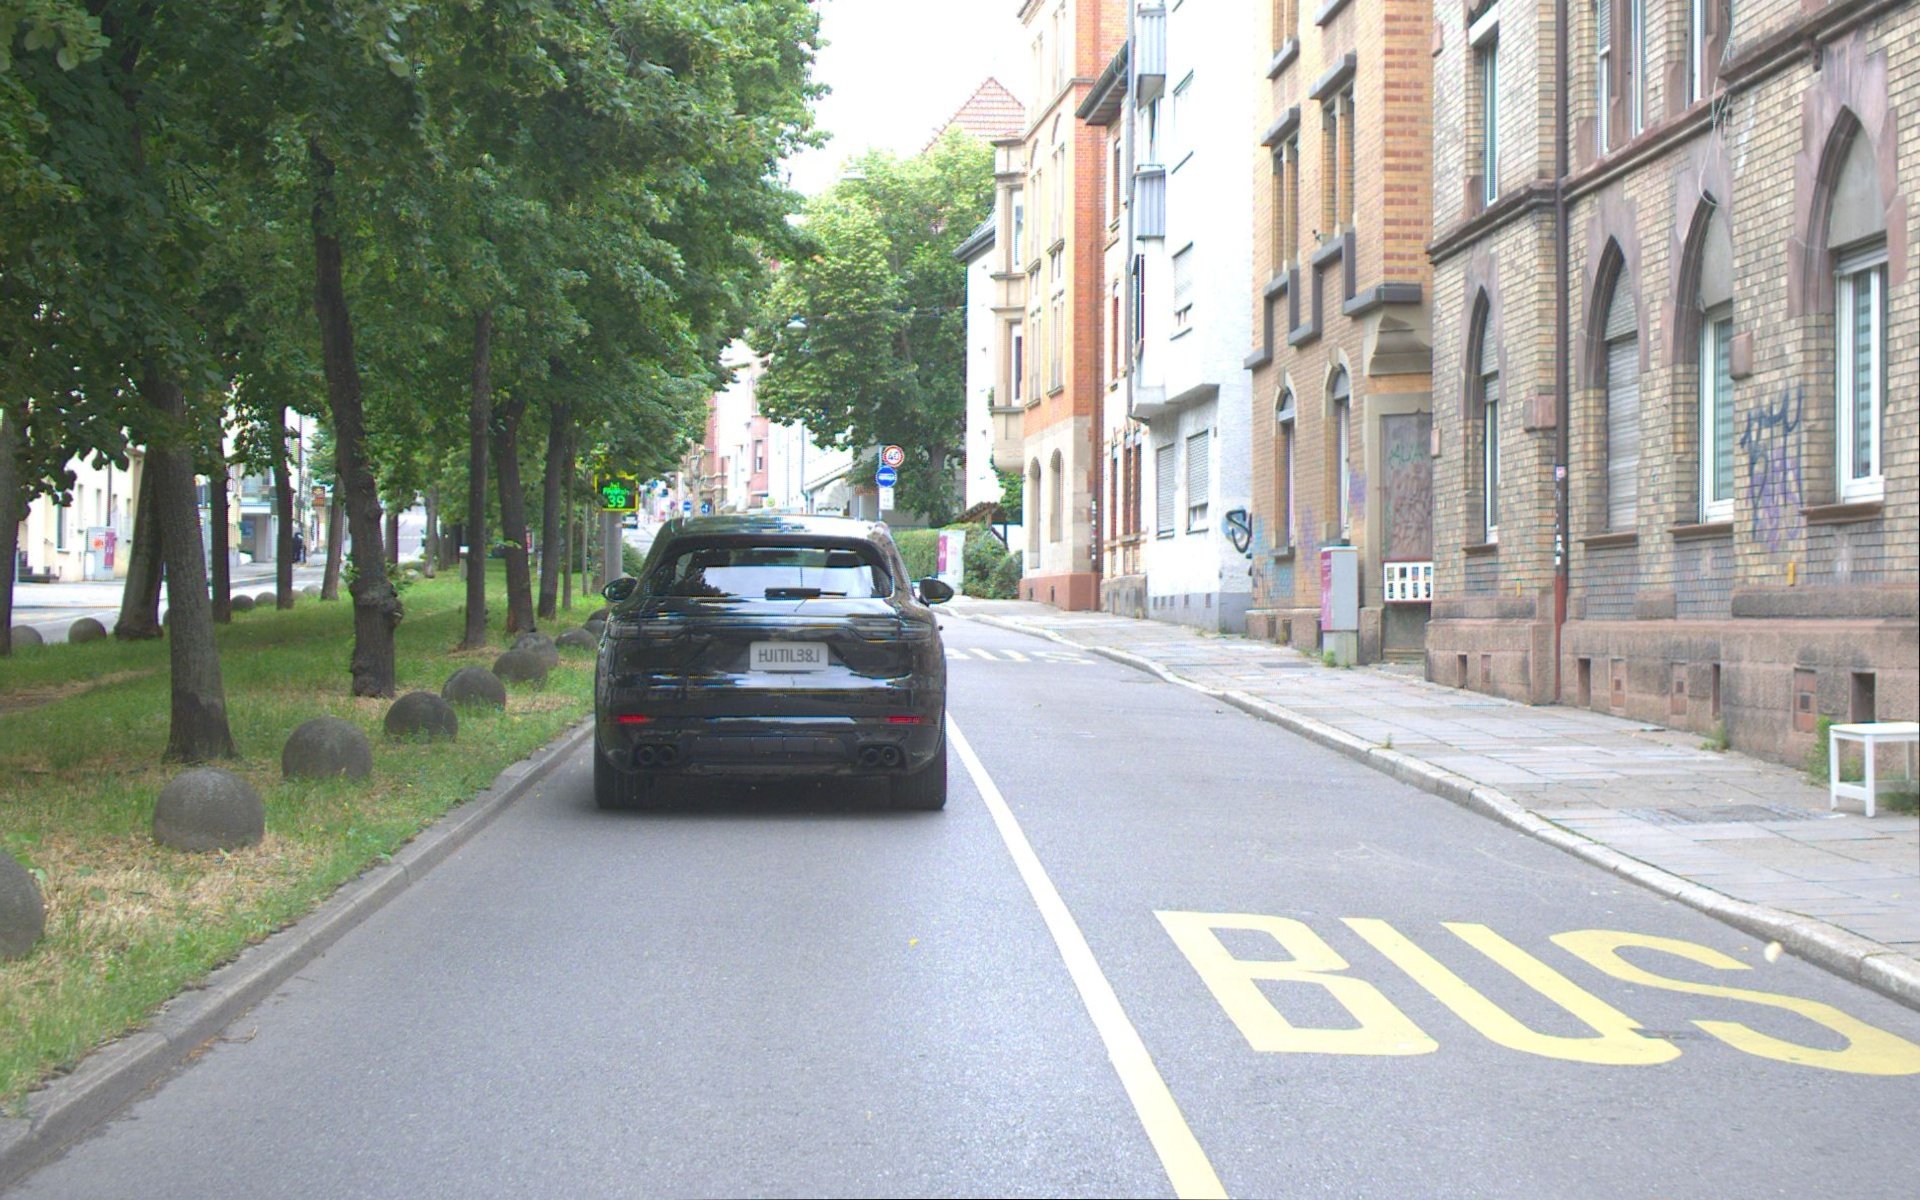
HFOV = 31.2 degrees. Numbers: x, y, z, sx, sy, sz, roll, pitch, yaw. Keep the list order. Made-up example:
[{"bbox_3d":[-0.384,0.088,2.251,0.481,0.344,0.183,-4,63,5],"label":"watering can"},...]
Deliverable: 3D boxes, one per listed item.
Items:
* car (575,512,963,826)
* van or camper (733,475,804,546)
[{"bbox_3d":[-1.243,0.350,20.409,1.903,1.660,4.136,1,1,-9],"label":"car"},{"bbox_3d":[-7.946,-3.662,142.162,2.479,2.793,7.239,1,1,-6],"label":"van or camper"}]
